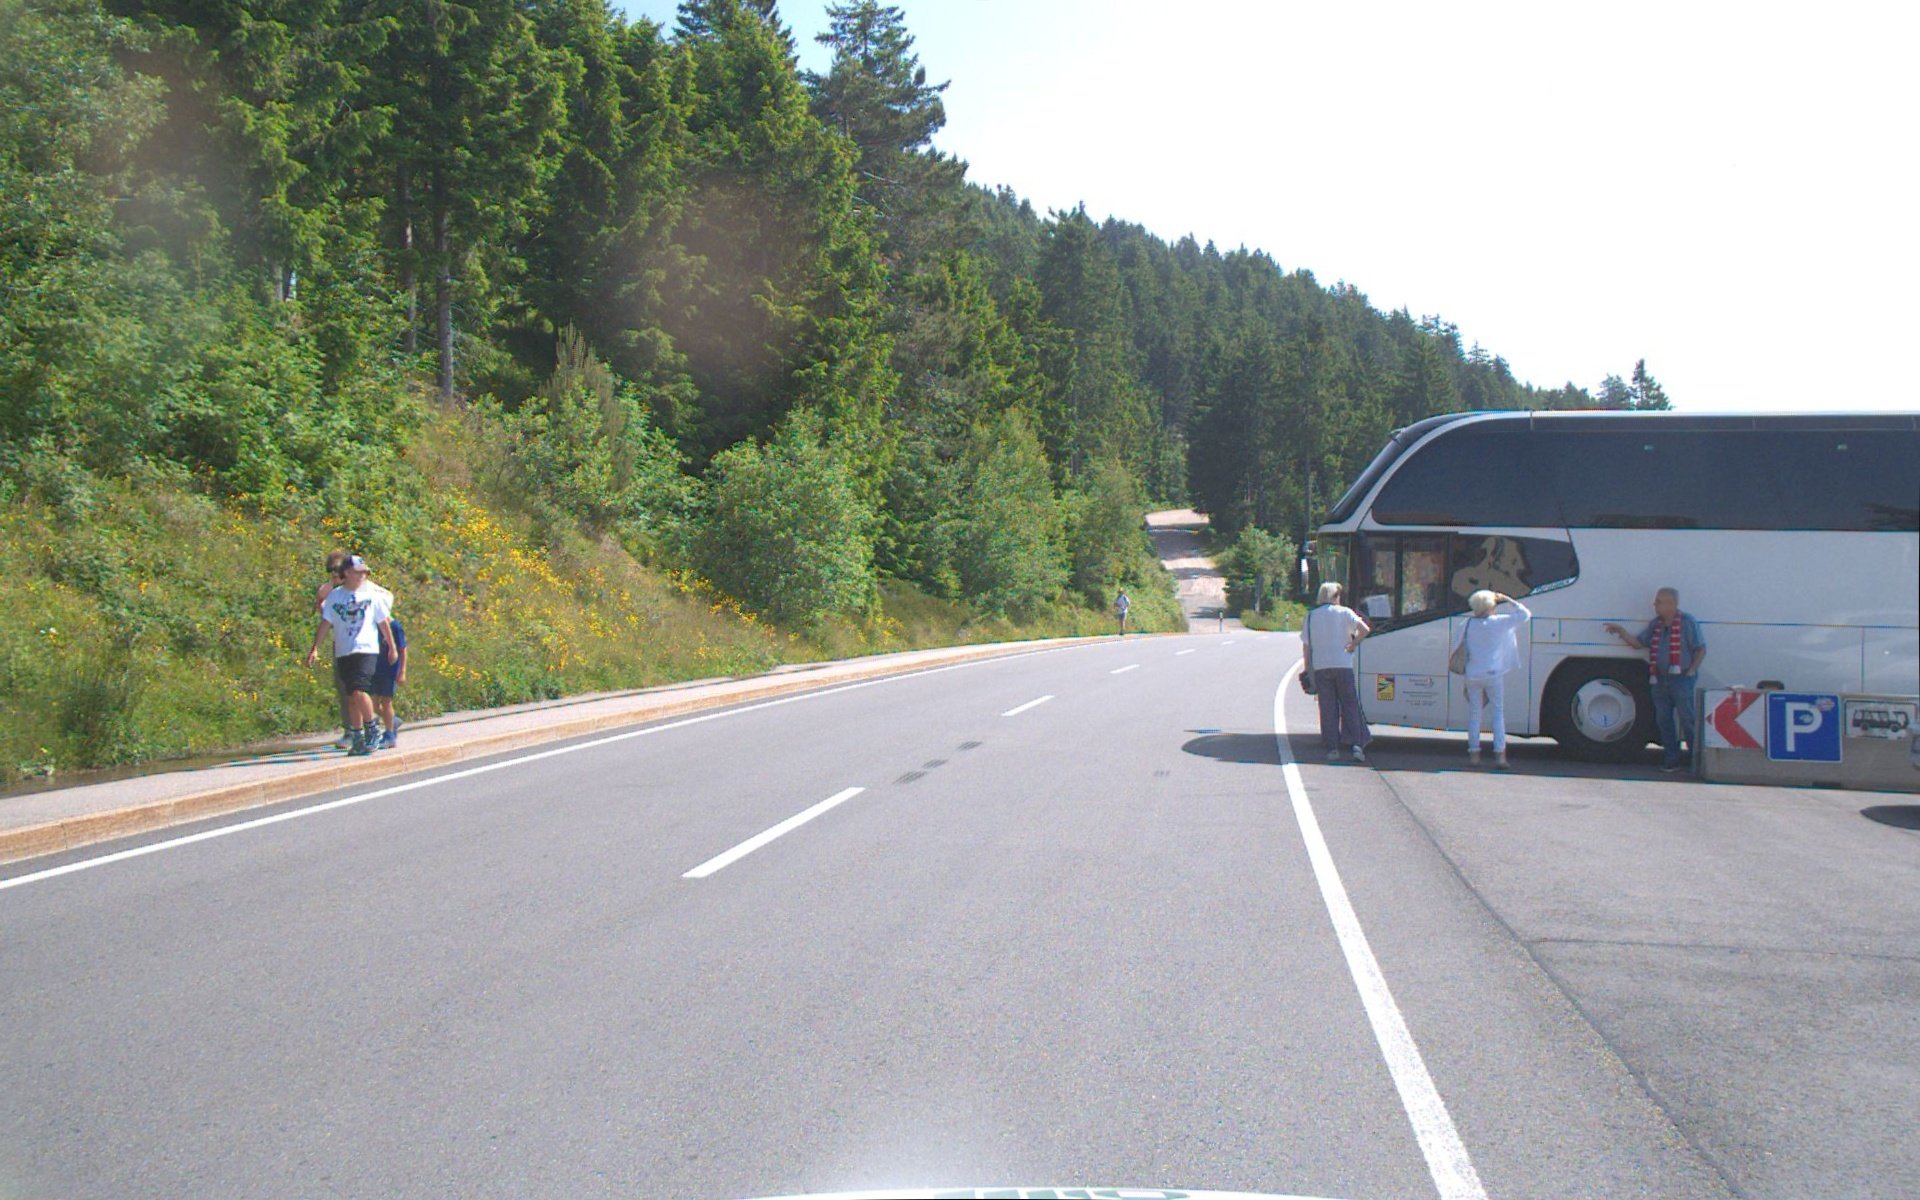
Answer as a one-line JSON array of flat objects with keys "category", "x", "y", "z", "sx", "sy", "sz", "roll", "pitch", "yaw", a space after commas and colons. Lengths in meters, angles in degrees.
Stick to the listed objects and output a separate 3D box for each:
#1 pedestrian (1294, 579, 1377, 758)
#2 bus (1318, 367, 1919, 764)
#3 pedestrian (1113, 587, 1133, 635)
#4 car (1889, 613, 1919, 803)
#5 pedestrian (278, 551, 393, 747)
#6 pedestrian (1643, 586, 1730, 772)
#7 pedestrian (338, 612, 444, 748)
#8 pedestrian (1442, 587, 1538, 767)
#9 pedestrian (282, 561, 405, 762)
[{"category": "pedestrian", "x": 3.600, "y": 0.638, "z": 15.903, "sx": 0.692, "sy": 1.671, "sz": 0.745, "roll": 0, "pitch": 0, "yaw": 6}, {"category": "bus", "x": 10.038, "y": -0.310, "z": 16.282, "sx": 12.574, "sy": 3.640, "sz": 2.841, "roll": 1, "pitch": 0, "yaw": 15}, {"category": "pedestrian", "x": 6.071, "y": 0.405, "z": 61.694, "sx": 0.668, "sy": 1.777, "sz": 0.826, "roll": 1, "pitch": 0, "yaw": 9}, {"category": "car", "x": 9.322, "y": 0.879, "z": 11.869, "sx": 4.331, "sy": 1.420, "sz": 1.719, "roll": 2, "pitch": 0, "yaw": 18}, {"category": "pedestrian", "x": -5.505, "y": 0.413, "z": 14.622, "sx": 0.564, "sy": 1.671, "sz": 0.895, "roll": 0, "pitch": 0, "yaw": 10}, {"category": "pedestrian", "x": 6.708, "y": 0.708, "z": 15.299, "sx": 0.630, "sy": 1.671, "sz": 0.745, "roll": 0, "pitch": 0, "yaw": 16}, {"category": "pedestrian", "x": -4.880, "y": 0.673, "z": 14.210, "sx": 0.556, "sy": 1.121, "sz": 0.745, "roll": 0, "pitch": 0, "yaw": 10}, {"category": "pedestrian", "x": 4.962, "y": 0.693, "z": 15.477, "sx": 0.634, "sy": 1.623, "sz": 0.741, "roll": 0, "pitch": 1, "yaw": 40}, {"category": "pedestrian", "x": -4.942, "y": 0.472, "z": 13.295, "sx": 0.568, "sy": 1.564, "sz": 0.880, "roll": 0, "pitch": 0, "yaw": 7}]
